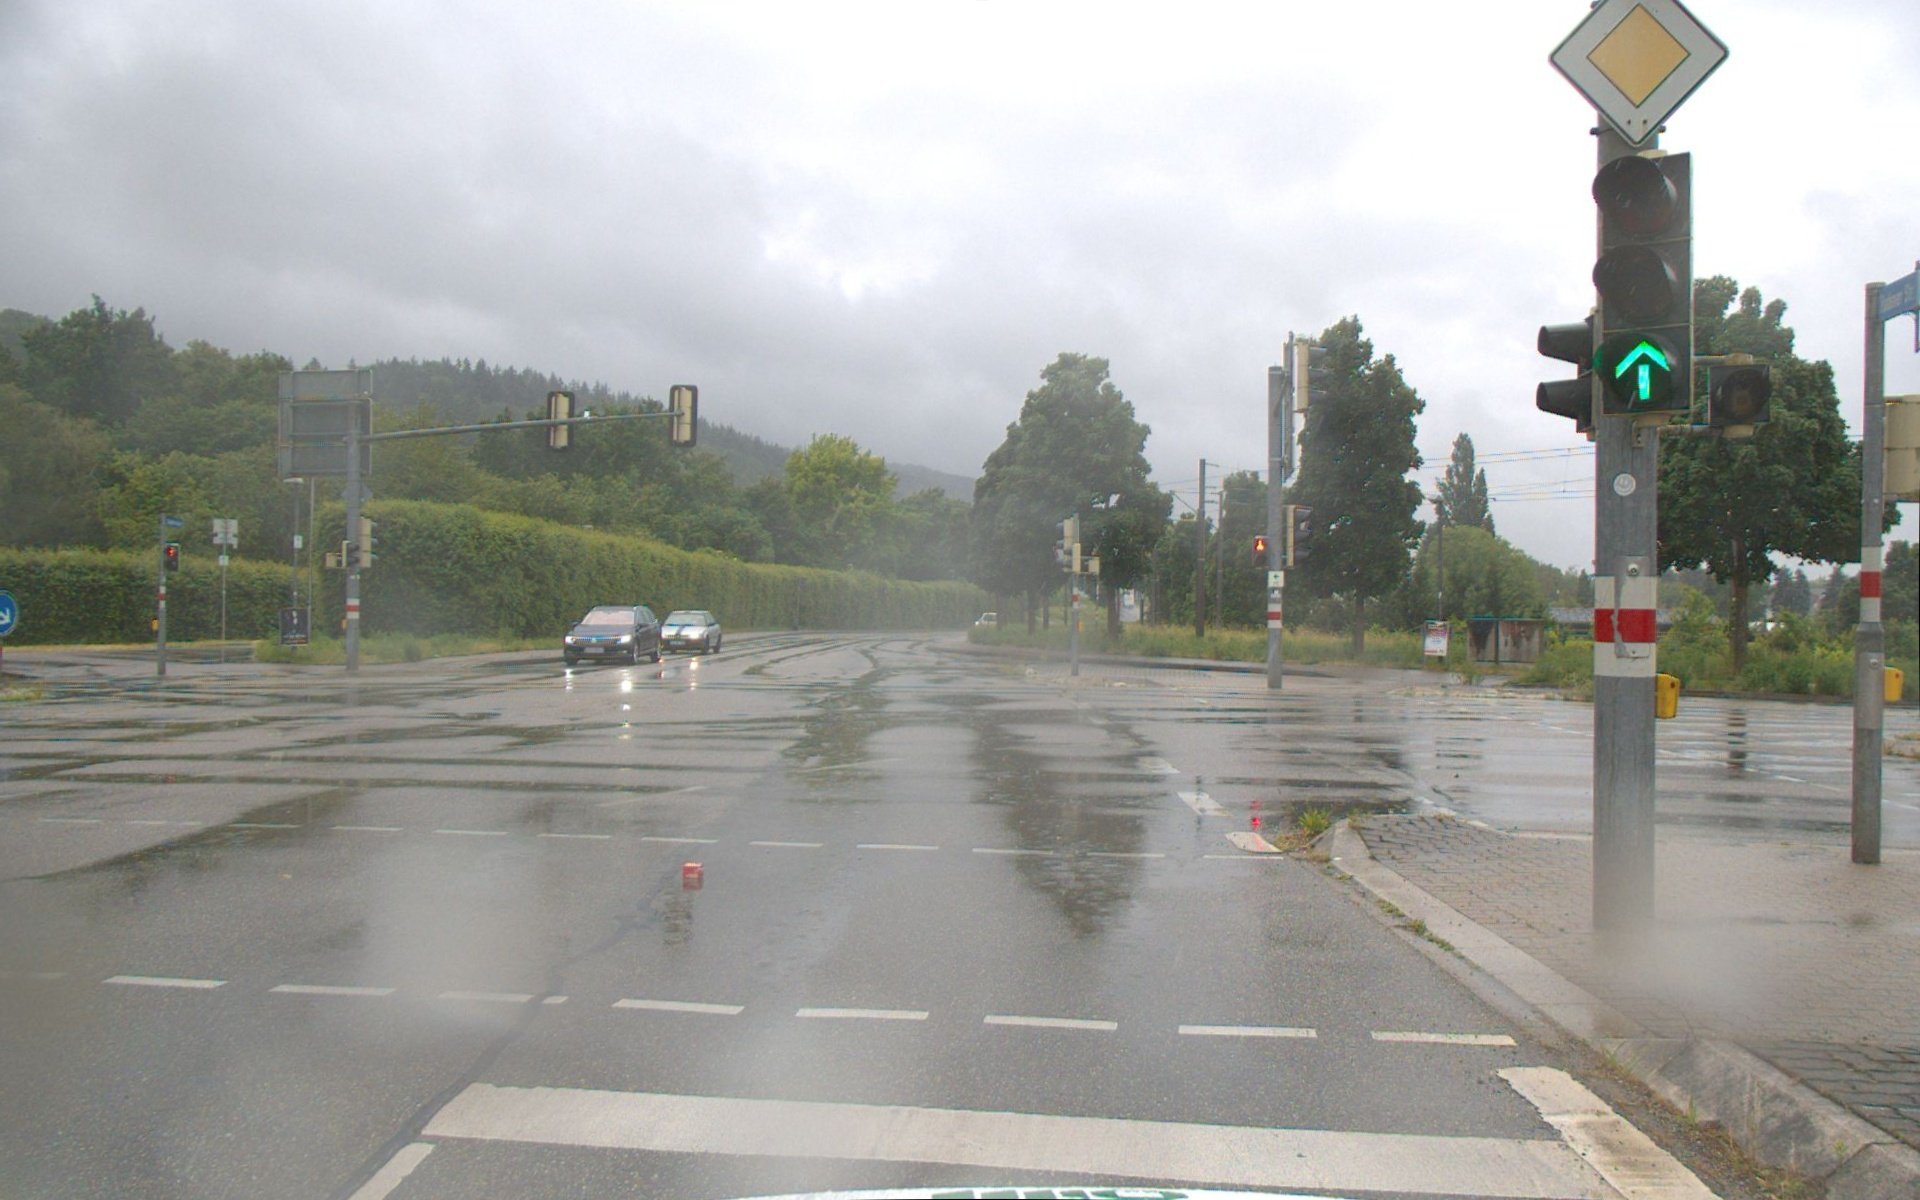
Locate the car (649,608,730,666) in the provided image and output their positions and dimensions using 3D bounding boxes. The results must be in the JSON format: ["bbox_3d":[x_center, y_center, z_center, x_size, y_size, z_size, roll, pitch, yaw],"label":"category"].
[{"bbox_3d":[-8.732,1.170,53.651,1.995,1.738,4.065,1,0,-1],"label":"car"}]

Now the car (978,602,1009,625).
[{"bbox_3d":[2.894,1.136,143.719,1.912,1.937,4.123,0,0,13],"label":"car"}]

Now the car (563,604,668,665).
[{"bbox_3d":[-8.946,0.863,43.279,1.673,1.491,4.454,0,0,2],"label":"car"}]
